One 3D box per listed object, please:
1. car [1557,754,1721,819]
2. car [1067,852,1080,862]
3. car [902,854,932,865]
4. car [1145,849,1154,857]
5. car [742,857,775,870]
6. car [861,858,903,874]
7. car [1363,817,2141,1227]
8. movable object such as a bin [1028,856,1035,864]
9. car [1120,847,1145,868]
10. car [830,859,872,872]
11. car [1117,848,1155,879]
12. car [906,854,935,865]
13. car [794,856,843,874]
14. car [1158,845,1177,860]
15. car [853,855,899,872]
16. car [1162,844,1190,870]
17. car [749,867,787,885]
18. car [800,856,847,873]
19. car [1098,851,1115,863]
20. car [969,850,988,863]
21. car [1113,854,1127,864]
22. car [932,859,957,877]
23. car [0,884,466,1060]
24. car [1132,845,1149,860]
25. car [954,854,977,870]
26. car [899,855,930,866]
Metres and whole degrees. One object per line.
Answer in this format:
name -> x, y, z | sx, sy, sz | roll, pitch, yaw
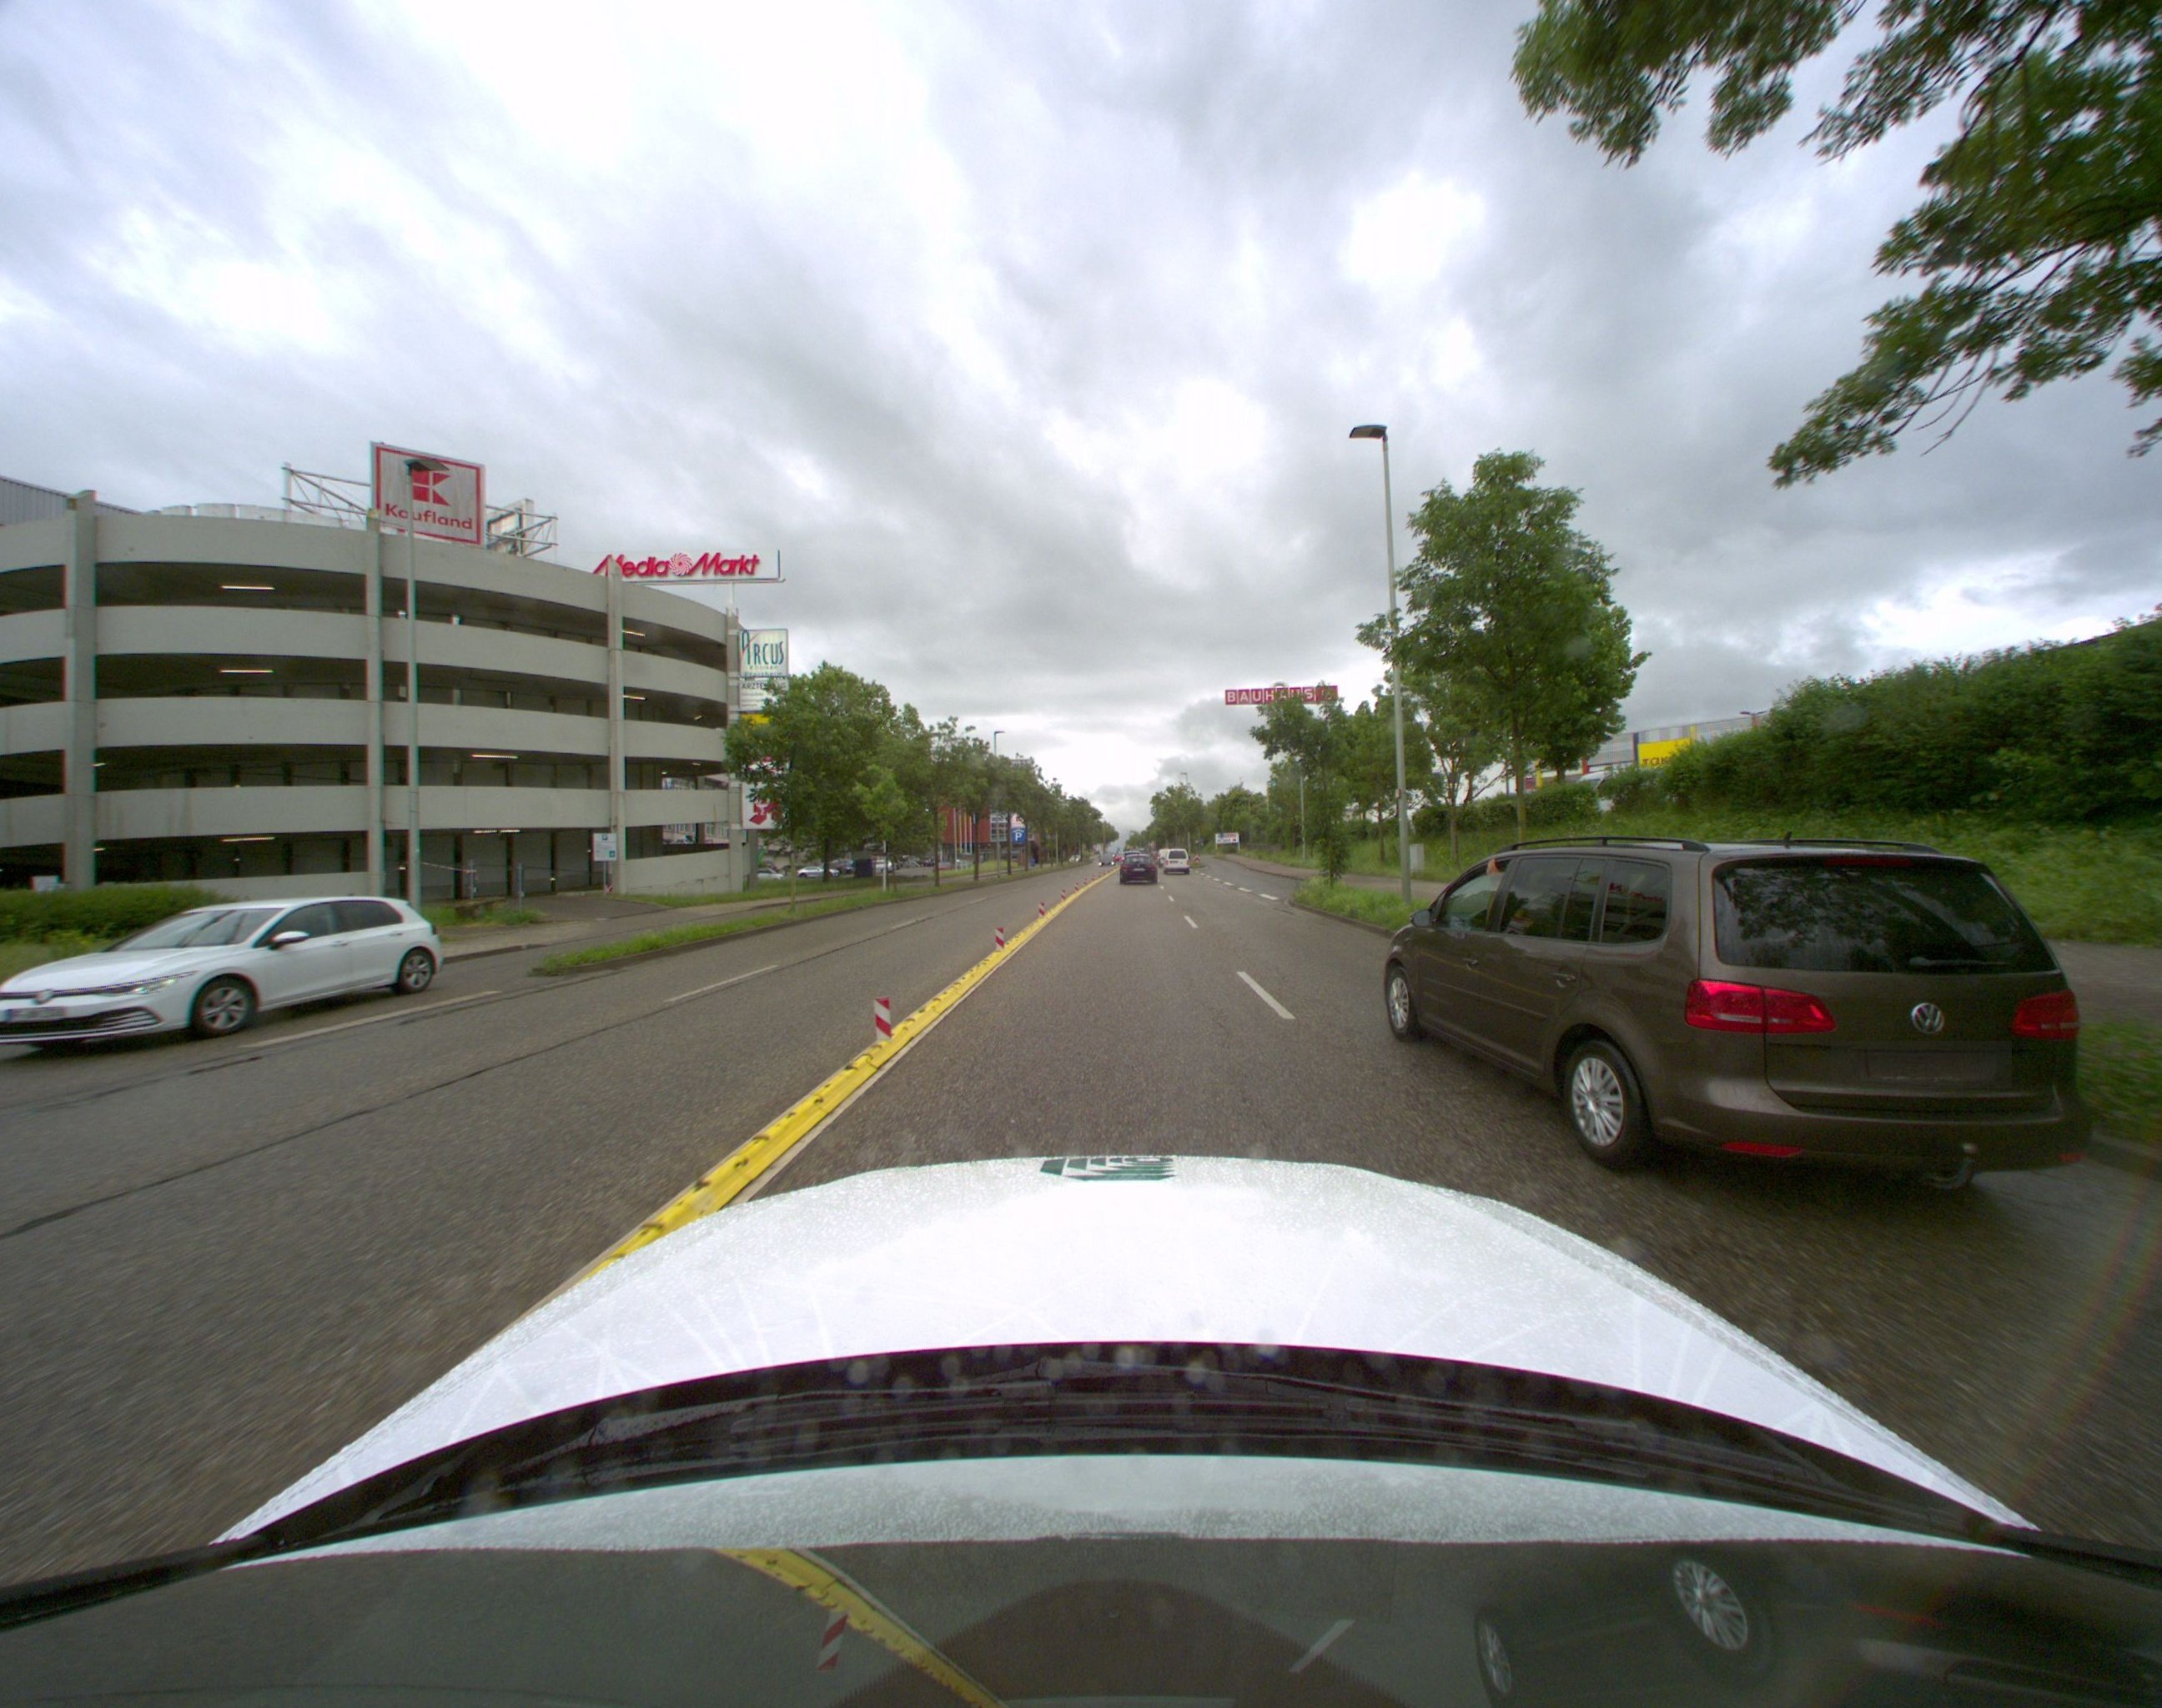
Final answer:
car -> 23.954, -2.885, 35.096 | 5.596, 2.142, 2.119 | -5, 0, -4
car -> -1.289, 0.524, 141.035 | 1.859, 1.553, 4.580 | -4, 0, 4
car -> -24.428, 0.879, 121.316 | 4.101, 1.510, 1.817 | -1, 1, -4
car -> 14.391, -0.196, 170.754 | 1.787, 1.510, 4.003 | 0, 0, 3
car -> -45.467, 1.384, 114.894 | 3.978, 1.732, 1.798 | -1, 1, -3
car -> -22.997, 1.347, 94.245 | 4.490, 1.745, 1.898 | -1, 1, -4
car -> 3.363, 0.661, 5.305 | 1.679, 1.581, 4.219 | 1, 0, 1
movable object such as a bin -> -7.315, 0.895, 120.233 | 0.815, 1.079, 1.087 | 4, 1, 5
car -> 3.799, 0.275, 60.432 | 1.786, 1.510, 4.003 | 0, 0, 3
car -> -28.316, 1.377, 100.356 | 4.601, 1.510, 2.022 | -1, 1, -4
car -> 2.777, 0.458, 40.915 | 1.819, 1.468, 4.004 | 0, 0, 4
car -> -24.290, 0.772, 123.369 | 4.183, 1.510, 1.817 | -1, 1, -4
car -> -27.802, 1.183, 86.287 | 4.595, 1.745, 1.962 | -1, 1, -8
car -> 8.529, -0.124, 80.761 | 1.786, 1.510, 4.005 | 0, 0, 4
car -> -23.038, 1.039, 91.643 | 4.590, 1.745, 1.964 | -1, 1, -4
car -> 6.771, 0.186, 58.419 | 1.819, 1.759, 4.004 | 0, 0, 4
car -> -27.590, 1.956, 71.864 | 2.692, 1.365, 1.607 | -4, 2, -6
car -> -28.168, 1.167, 89.297 | 4.595, 1.745, 2.128 | -1, 1, -8
car -> 3.077, 0.347, 99.033 | 1.819, 1.466, 4.621 | -2, 0, 4
car -> -15.294, 0.421, 121.597 | 2.129, 1.773, 4.611 | -1, 2, 2
car -> 6.181, 0.746, 128.697 | 1.753, 1.425, 4.187 | -3, 0, 6
car -> -14.431, 1.459, 86.444 | 1.927, 1.608, 4.710 | -1, 2, -1
car -> -10.156, 1.232, 10.014 | 1.895, 1.408, 4.420 | -3, 1, -3
car -> 6.344, -0.147, 87.182 | 1.786, 1.510, 4.003 | 0, 0, 3
car -> -14.256, 0.965, 100.923 | 2.032, 1.762, 4.947 | -1, 2, 1
car -> -24.347, 0.890, 119.079 | 4.101, 1.510, 1.817 | -1, 1, -4
